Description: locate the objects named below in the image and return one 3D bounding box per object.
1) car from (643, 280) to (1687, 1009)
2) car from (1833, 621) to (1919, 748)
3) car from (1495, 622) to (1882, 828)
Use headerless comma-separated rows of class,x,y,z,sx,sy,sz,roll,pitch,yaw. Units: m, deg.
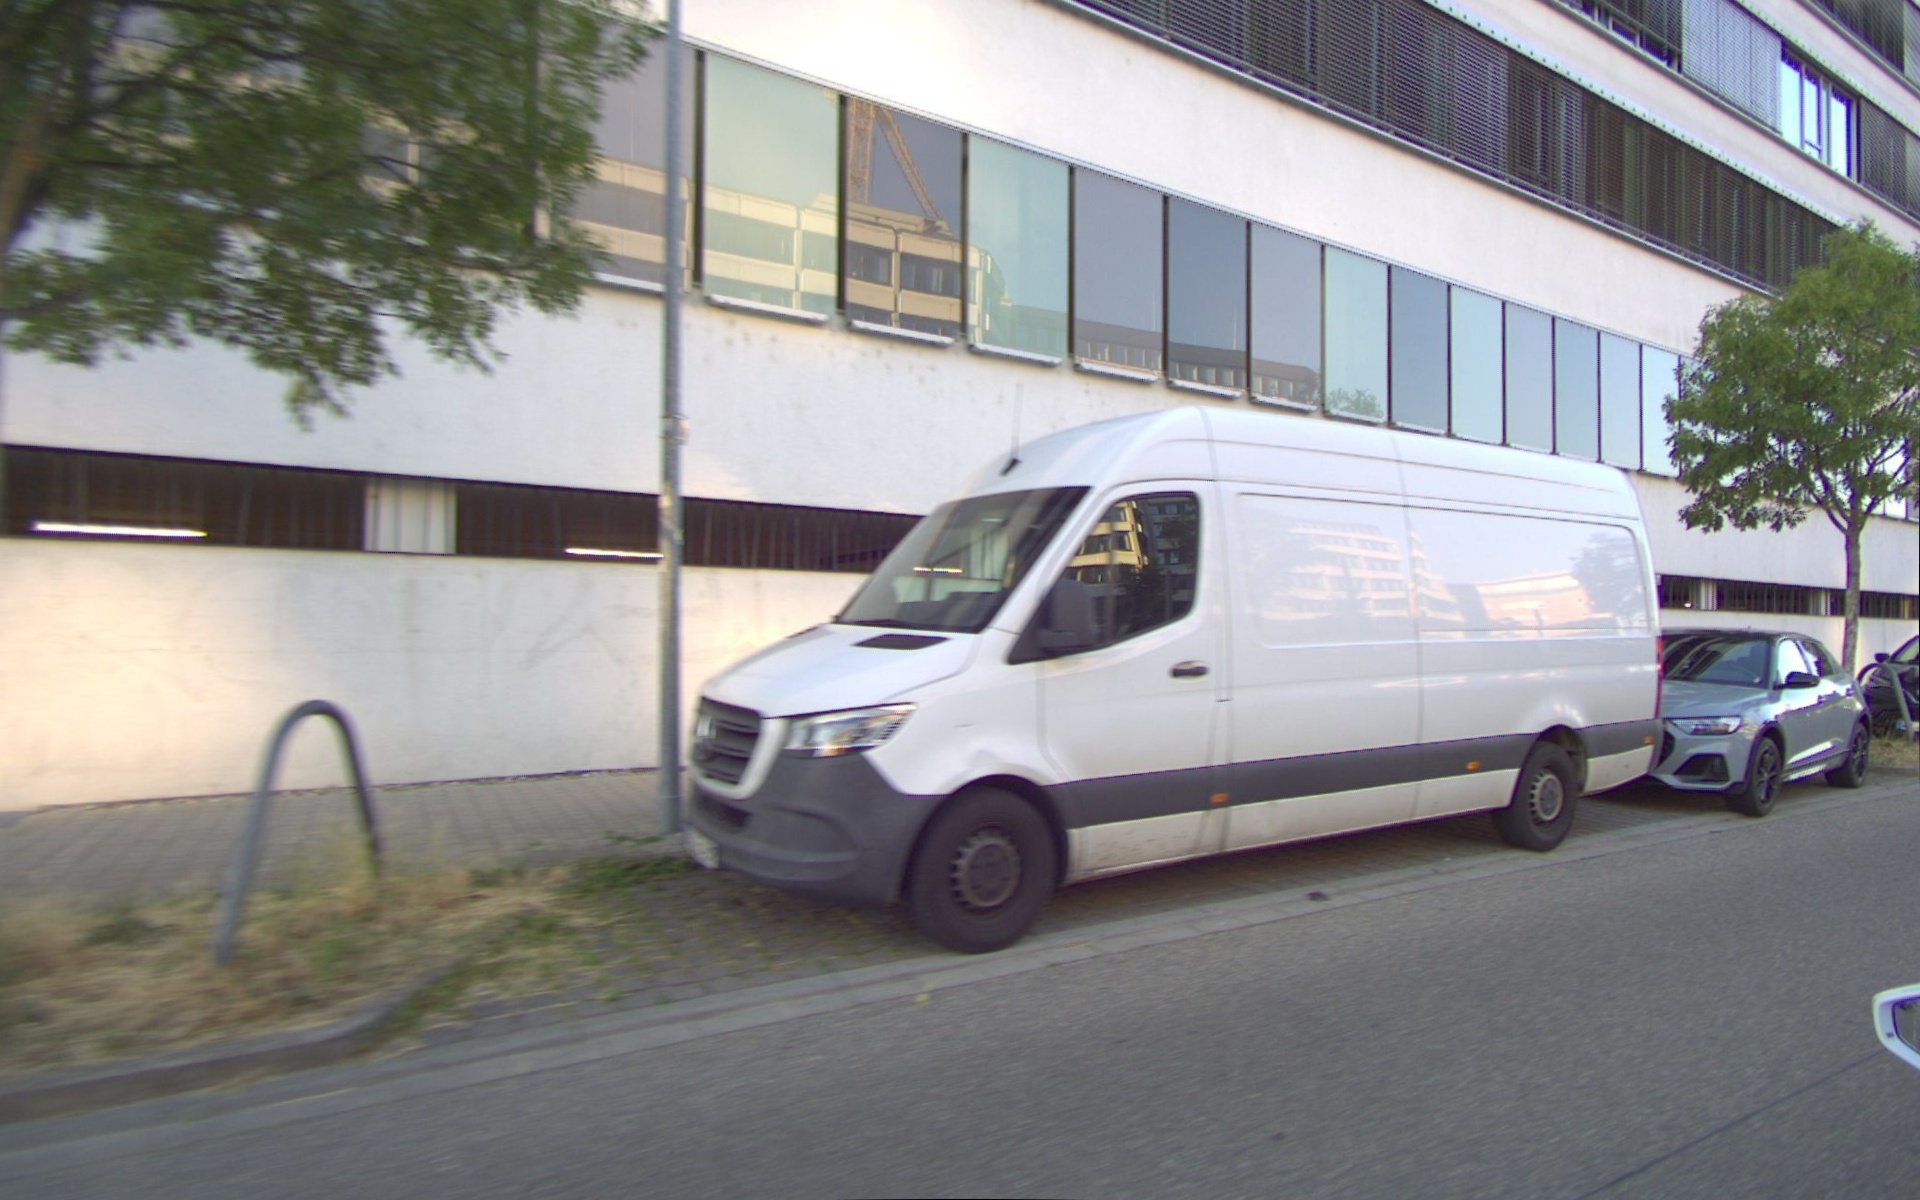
car,1.738,0.210,6.247,6.812,2.652,1.948,1,0,-31
car,13.916,1.117,13.790,3.996,1.582,1.747,1,0,-31
car,6.767,0.967,9.223,3.863,1.459,1.744,1,0,-36
